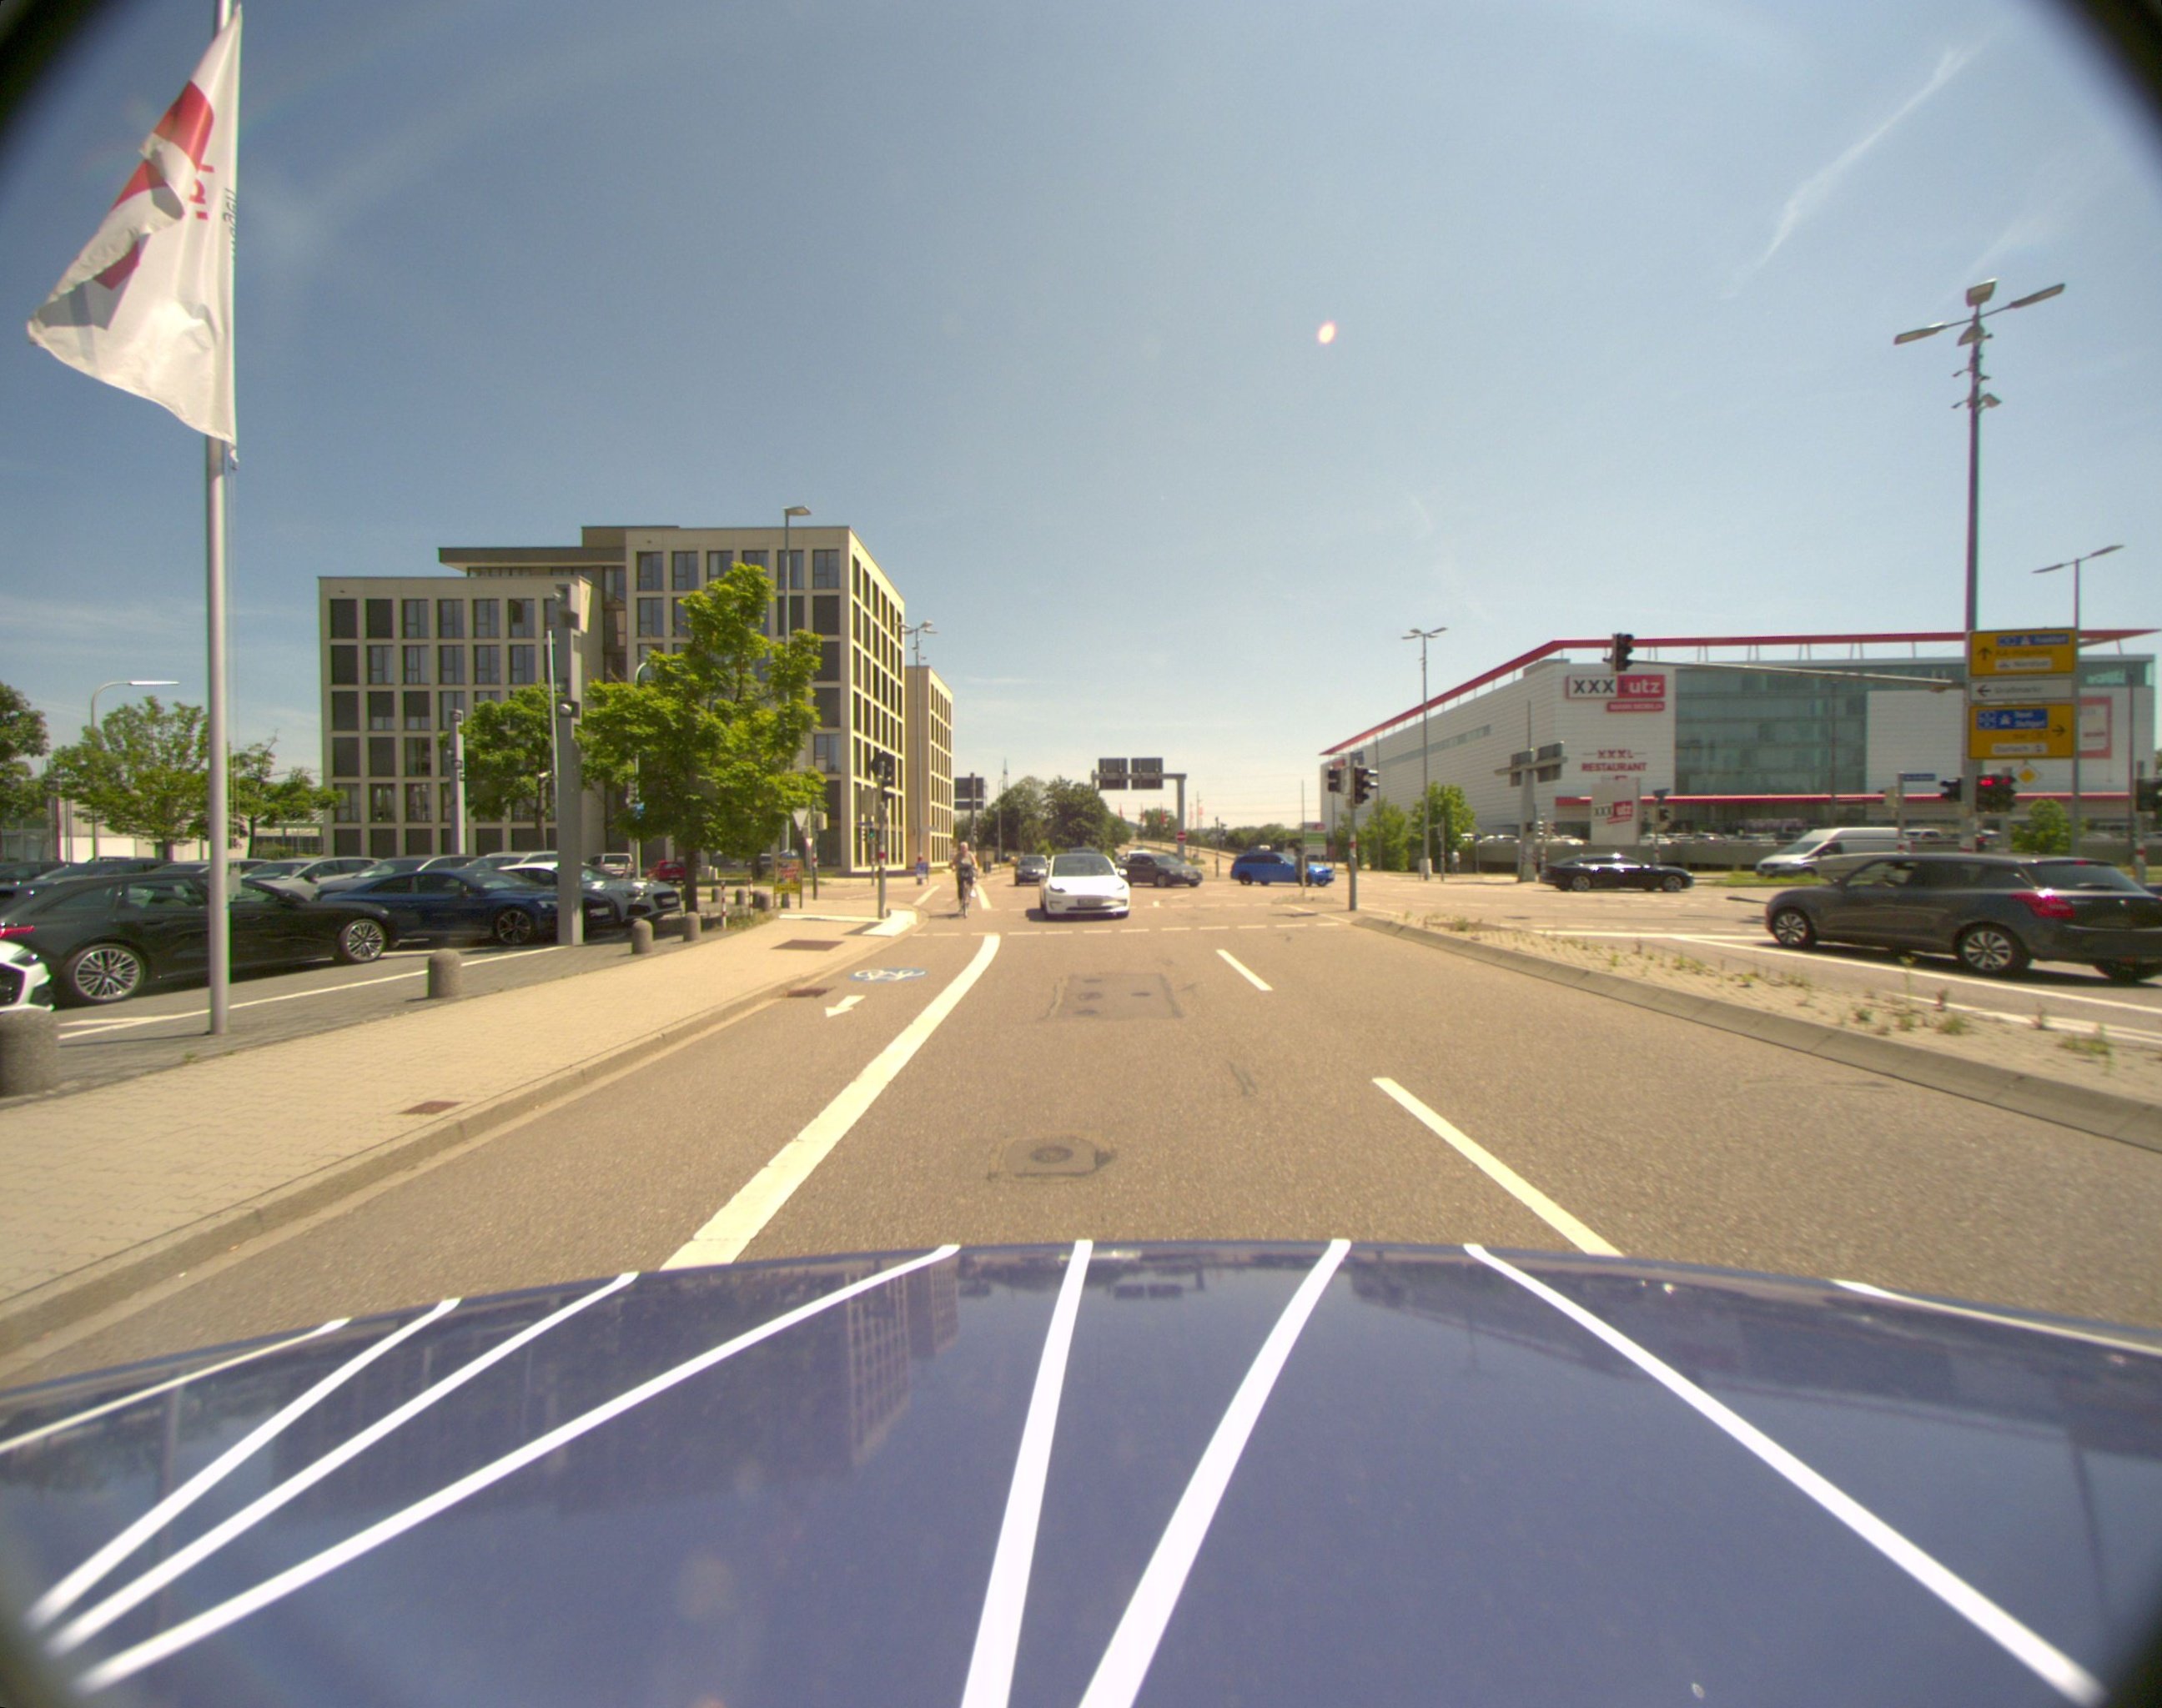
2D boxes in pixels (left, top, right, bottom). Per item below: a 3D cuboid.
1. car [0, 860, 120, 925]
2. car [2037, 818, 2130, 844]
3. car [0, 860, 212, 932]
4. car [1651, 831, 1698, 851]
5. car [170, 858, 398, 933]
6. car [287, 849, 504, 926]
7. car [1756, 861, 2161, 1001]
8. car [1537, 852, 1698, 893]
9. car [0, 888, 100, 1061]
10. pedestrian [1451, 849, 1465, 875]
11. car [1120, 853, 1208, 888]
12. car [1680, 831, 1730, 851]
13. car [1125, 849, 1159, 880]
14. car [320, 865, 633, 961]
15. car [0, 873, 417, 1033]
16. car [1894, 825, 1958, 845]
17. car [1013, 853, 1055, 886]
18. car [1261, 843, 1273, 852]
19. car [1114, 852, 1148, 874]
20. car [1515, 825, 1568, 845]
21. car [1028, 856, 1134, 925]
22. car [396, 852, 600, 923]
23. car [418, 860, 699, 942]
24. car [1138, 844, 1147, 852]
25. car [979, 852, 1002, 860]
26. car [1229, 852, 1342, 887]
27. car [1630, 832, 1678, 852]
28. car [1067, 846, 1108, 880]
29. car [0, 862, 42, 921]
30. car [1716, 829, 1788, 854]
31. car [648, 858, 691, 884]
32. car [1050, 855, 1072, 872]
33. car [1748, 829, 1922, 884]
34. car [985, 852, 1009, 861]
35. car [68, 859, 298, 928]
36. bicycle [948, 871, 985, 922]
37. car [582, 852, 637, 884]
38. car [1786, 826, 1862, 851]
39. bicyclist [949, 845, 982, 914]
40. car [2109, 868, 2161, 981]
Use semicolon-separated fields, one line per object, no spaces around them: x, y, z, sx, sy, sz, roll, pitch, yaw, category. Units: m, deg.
-28.911;1.060;20.129;1.849;1.645;3.997;-3;1;-4;car
83.535;-1.872;63.408;1.998;2.002;4.329;0;1;1;car
-26.038;1.039;20.127;1.633;1.645;3.909;-2;0;-4;car
61.480;-1.375;78.799;1.782;2.002;4.135;0;1;1;car
-20.718;0.984;20.041;1.849;1.645;3.997;-3;1;-4;car
-17.780;0.785;20.019;1.848;1.645;3.998;-3;1;4;car
11.386;0.853;10.031;1.648;1.381;3.715;1;1;1;car
19.284;0.642;27.522;4.457;1.396;1.679;0;0;16;car
-10.744;1.088;5.763;4.106;1.356;1.874;-3;1;1;car
25.719;0.565;51.825;0.604;1.773;0.827;0;1;5;pedestrian
3.436;0.642;32.267;1.773;1.374;4.080;-1;1;-27;car
64.167;-1.364;78.232;1.782;2.002;4.135;0;1;1;car
3.439;0.564;43.163;1.769;1.631;4.493;-2;0;4;car
-10.735;1.006;13.735;4.106;1.382;1.869;-3;1;1;car
-11.472;1.077;9.599;1.867;1.411;4.663;-3;0;2;car
84.135;-1.868;75.723;1.998;1.890;4.000;0;0;2;car
-2.237;0.701;36.994;1.556;1.528;3.822;0;0;4;car
48.378;-1.571;197.913;2.192;2.270;4.814;0;0;3;car
3.530;0.630;52.780;1.768;1.414;3.903;-2;0;12;car
47.973;-1.969;79.254;4.470;2.002;1.679;0;1;3;car
-0.131;0.810;18.939;1.825;1.428;4.280;-2;0;-11;car
-15.269;0.792;20.300;1.872;1.549;4.502;0;2;2;car
-10.961;0.949;16.187;4.604;1.382;1.869;-3;1;1;car
14.052;-1.350;173.185;1.998;1.696;4.000;0;0;3;car
-15.701;0.356;131.923;3.834;1.386;1.736;0;0;-13;car
8.729;0.637;32.704;1.774;1.395;4.418;0;0;-44;car
59.348;-1.277;78.764;1.782;2.002;4.233;0;1;1;car
0.438;0.471;43.176;1.895;1.810;4.838;-2;0;5;car
-31.439;1.127;20.302;1.849;1.645;3.997;-3;1;-4;car
55.925;-1.039;63.425;1.999;2.002;4.328;0;1;-3;car
-25.968;1.032;47.889;1.703;1.424;3.988;-2;2;-39;car
-1.801;0.867;70.593;1.769;1.395;3.951;-1;1;2;car
31.517;0.124;31.899;5.043;2.170;2.001;-1;0;5;car
-14.380;0.443;130.233;3.834;1.543;1.736;0;0;-13;car
-23.271;0.969;19.943;1.641;1.606;3.817;-1;-1;-4;car
-2.739;0.994;18.298;0.629;1.126;1.894;-2;0;-2;bicycle
-29.624;0.859;47.715;1.924;1.875;4.919;-1;0;-44;car
61.540;-1.232;63.039;1.999;2.002;4.328;0;1;-3;car
-2.746;0.595;18.107;0.629;1.596;0.825;-2;1;-2;bicyclist
14.497;0.927;8.066;1.664;1.416;4.037;0;1;0;car
